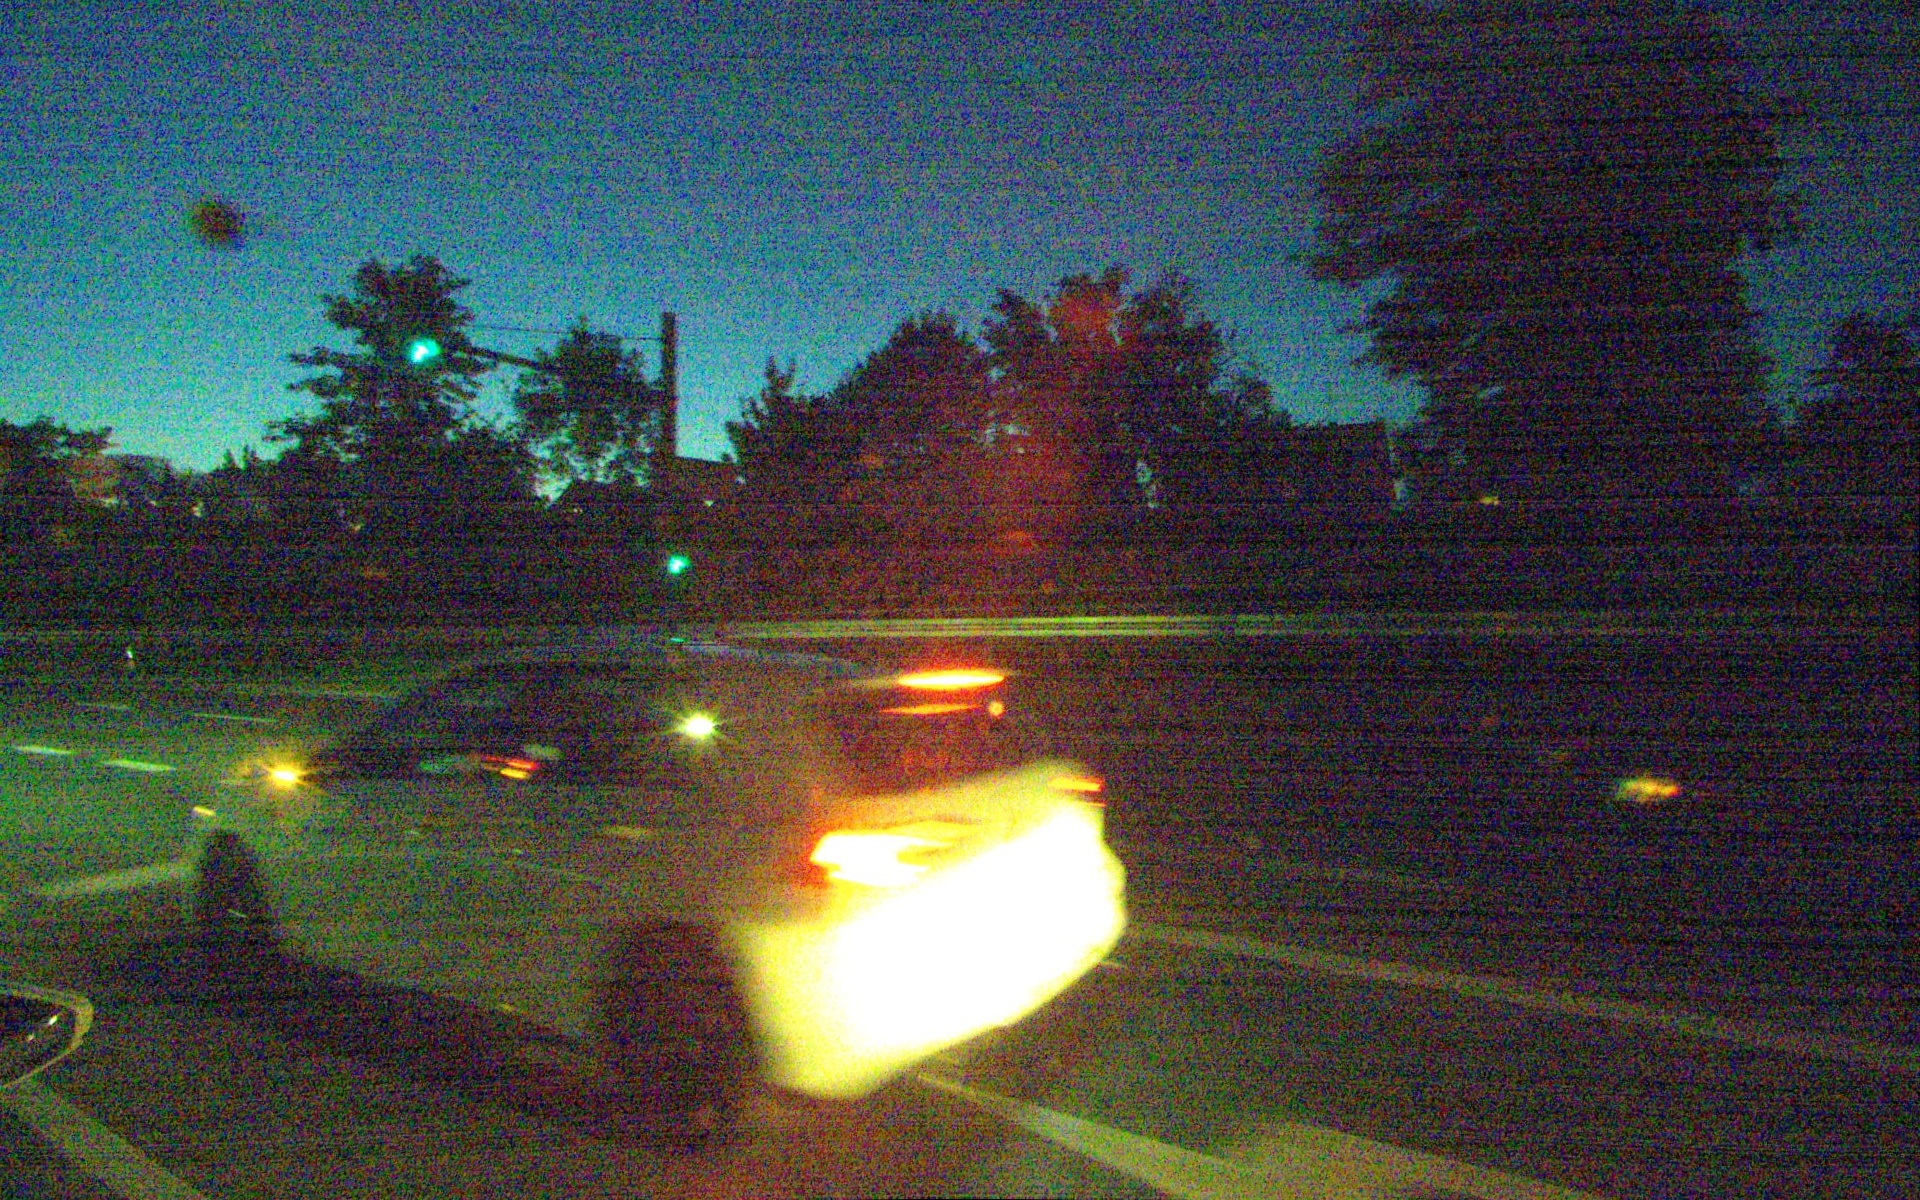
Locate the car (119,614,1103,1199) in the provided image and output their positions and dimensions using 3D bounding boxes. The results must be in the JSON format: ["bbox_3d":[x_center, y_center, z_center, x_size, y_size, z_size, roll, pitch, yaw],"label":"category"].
[{"bbox_3d":[-1.649,0.811,4.257,4.131,1.478,1.755,0,-1,32],"label":"car"}]
